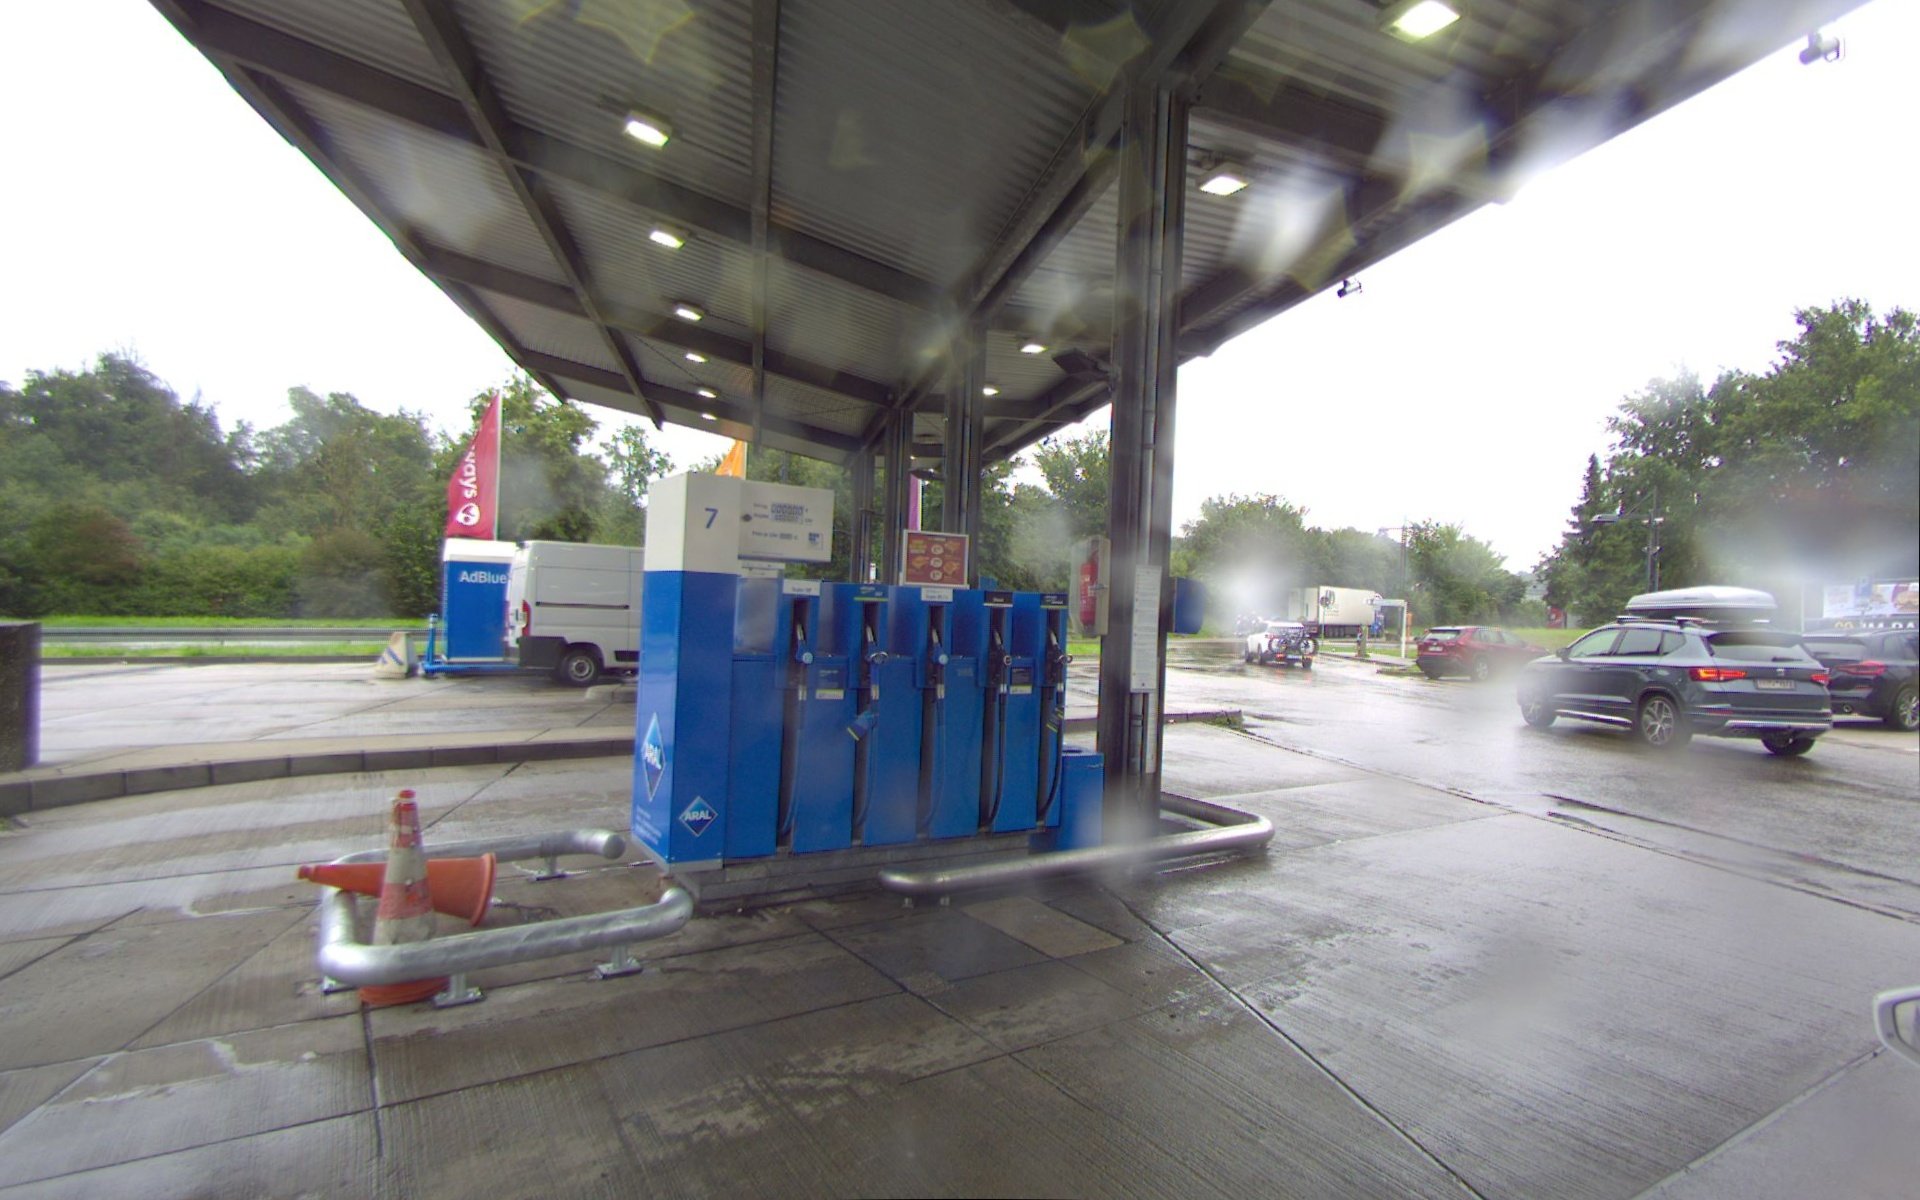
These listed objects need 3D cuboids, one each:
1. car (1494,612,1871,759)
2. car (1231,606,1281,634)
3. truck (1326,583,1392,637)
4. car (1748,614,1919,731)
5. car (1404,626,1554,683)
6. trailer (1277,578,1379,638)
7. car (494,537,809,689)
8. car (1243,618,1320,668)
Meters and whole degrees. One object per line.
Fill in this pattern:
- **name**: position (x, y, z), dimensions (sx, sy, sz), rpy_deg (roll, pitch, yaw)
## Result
- **car**: position (9.419, 1.009, 13.646), dimensions (1.854, 1.608, 4.324), rpy_deg (1, 0, -3)
- **car**: position (20.929, 1.406, 70.841), dimensions (1.903, 1.862, 4.373), rpy_deg (1, 0, 38)
- **truck**: position (35.604, 0.932, 89.468), dimensions (3.416, 4.618, 6.704), rpy_deg (2, 0, 40)
- **car**: position (16.165, 1.193, 17.414), dimensions (4.344, 1.852, 1.883), rpy_deg (1, -1, -19)
- **car**: position (16.016, 1.651, 30.980), dimensions (4.294, 1.617, 1.879), rpy_deg (1, -1, -24)
- **trailer**: position (30.931, 0.762, 83.865), dimensions (3.416, 4.618, 13.847), rpy_deg (2, 0, 40)
- **car**: position (-5.727, 0.272, 18.919), dimensions (5.227, 2.496, 2.306), rpy_deg (1, -1, -34)
- **car**: position (11.552, 1.496, 36.394), dimensions (1.783, 1.586, 5.007), rpy_deg (1, 0, 7)
